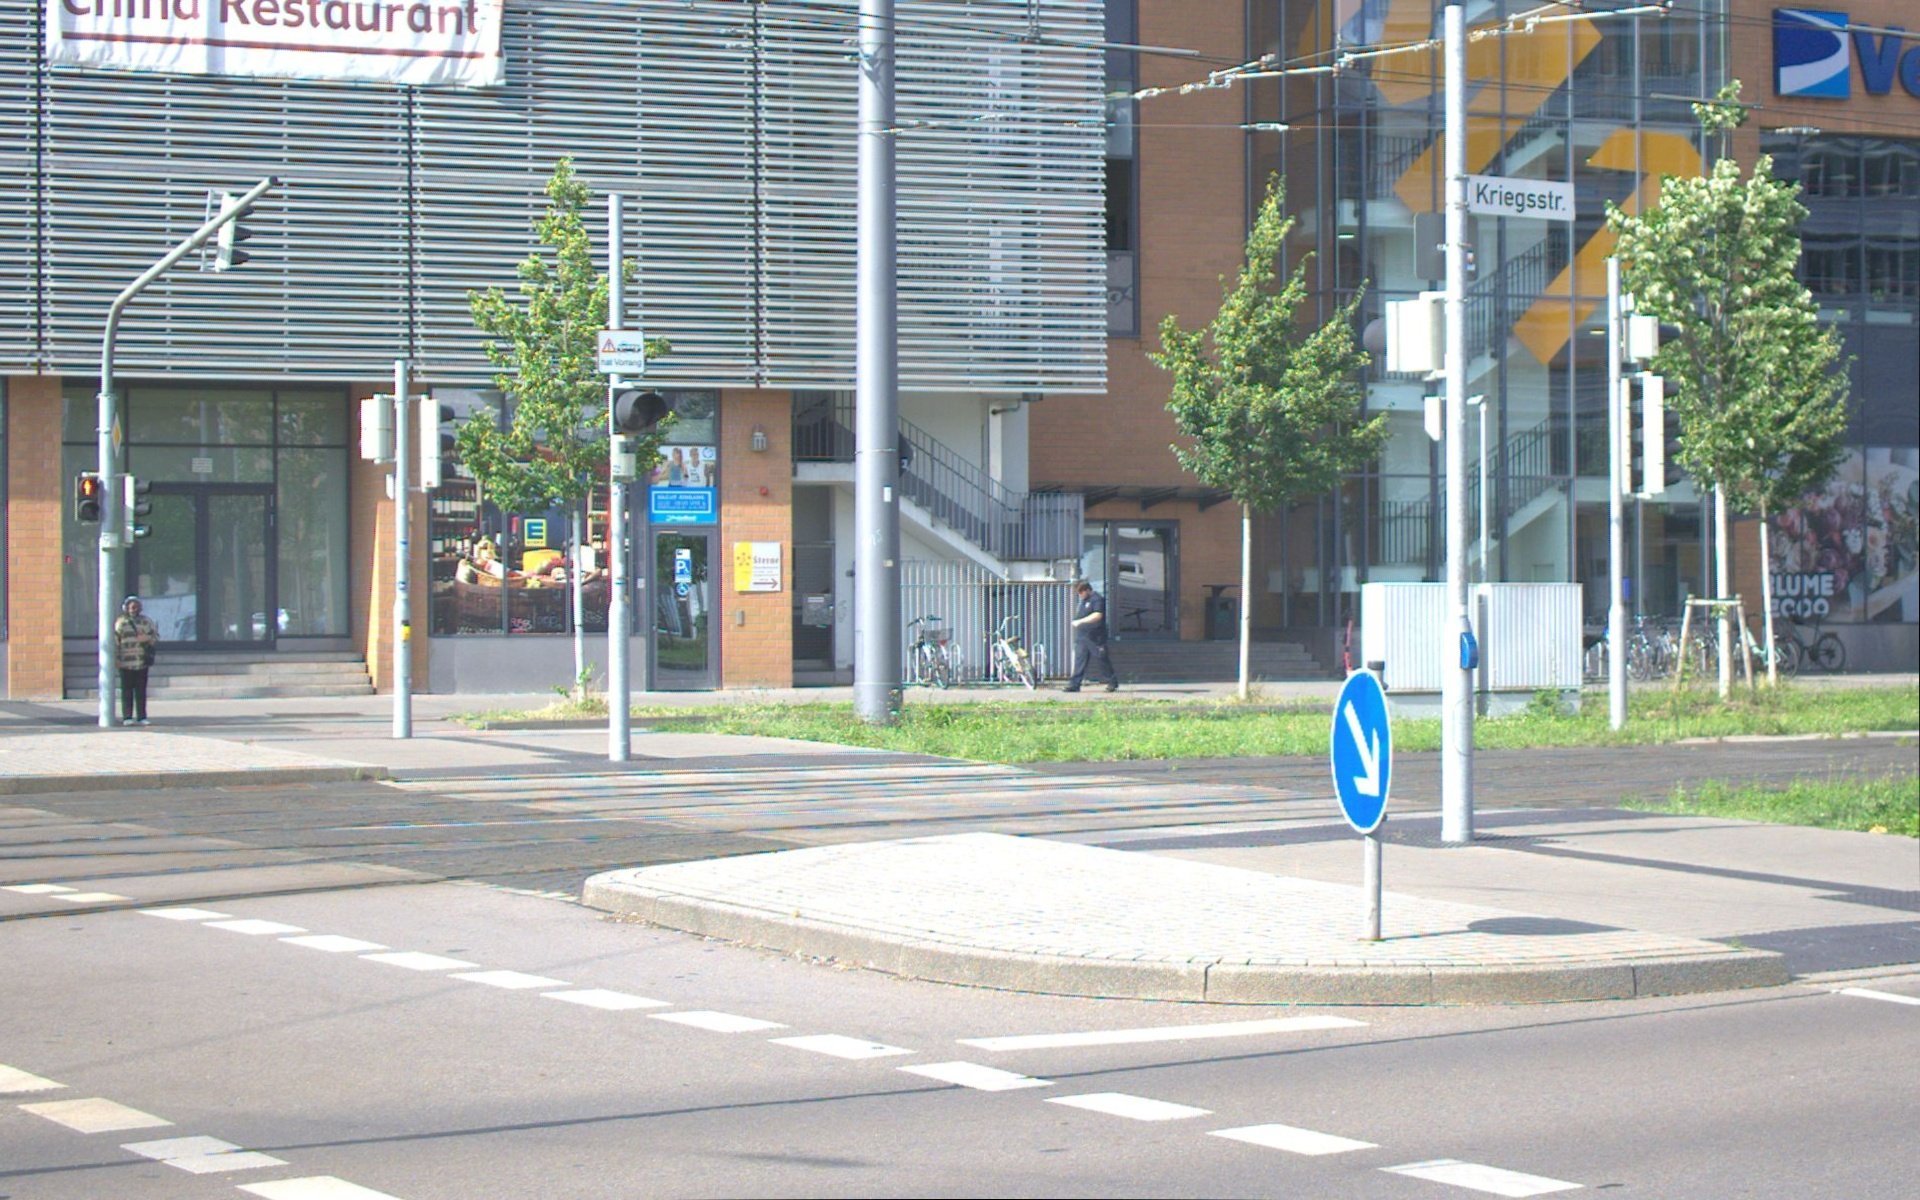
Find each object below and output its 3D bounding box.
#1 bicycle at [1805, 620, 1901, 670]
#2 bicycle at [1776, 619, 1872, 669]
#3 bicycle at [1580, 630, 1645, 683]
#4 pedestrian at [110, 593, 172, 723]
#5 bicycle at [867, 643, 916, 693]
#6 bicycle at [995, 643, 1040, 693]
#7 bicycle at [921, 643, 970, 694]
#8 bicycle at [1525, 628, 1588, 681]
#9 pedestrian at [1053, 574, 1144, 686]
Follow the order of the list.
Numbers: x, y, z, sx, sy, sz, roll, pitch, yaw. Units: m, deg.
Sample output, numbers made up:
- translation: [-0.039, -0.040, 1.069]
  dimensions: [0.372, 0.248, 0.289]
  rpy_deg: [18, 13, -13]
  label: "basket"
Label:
- translation: [16.972, 0.848, 65.375]
  dimensions: [0.571, 0.918, 2.055]
  rpy_deg: [0, 0, -26]
  label: "bicycle"
- translation: [16.327, 0.826, 65.022]
  dimensions: [0.571, 0.918, 2.055]
  rpy_deg: [0, 0, -26]
  label: "bicycle"
- translation: [11.244, 0.966, 59.287]
  dimensions: [0.256, 0.827, 1.468]
  rpy_deg: [2, 1, -25]
  label: "bicycle"
- translation: [-9.993, 0.700, 41.948]
  dimensions: [0.588, 1.574, 0.764]
  rpy_deg: [0, 0, -25]
  label: "pedestrian"
- translation: [-1.058, 1.036, 52.809]
  dimensions: [0.450, 0.749, 1.006]
  rpy_deg: [0, 0, -20]
  label: "bicycle"
- translation: [0.886, 1.055, 53.535]
  dimensions: [0.360, 0.749, 1.024]
  rpy_deg: [0, 0, -20]
  label: "bicycle"
- translation: [-0.230, 1.055, 53.129]
  dimensions: [0.450, 0.749, 1.006]
  rpy_deg: [0, 0, -20]
  label: "bicycle"
- translation: [10.154, 0.927, 58.586]
  dimensions: [0.256, 0.884, 1.468]
  rpy_deg: [2, -1, -25]
  label: "bicycle"
- translation: [2.129, 0.459, 53.047]
  dimensions: [1.172, 1.713, 0.820]
  rpy_deg: [0, 0, -21]
  label: "pedestrian"
